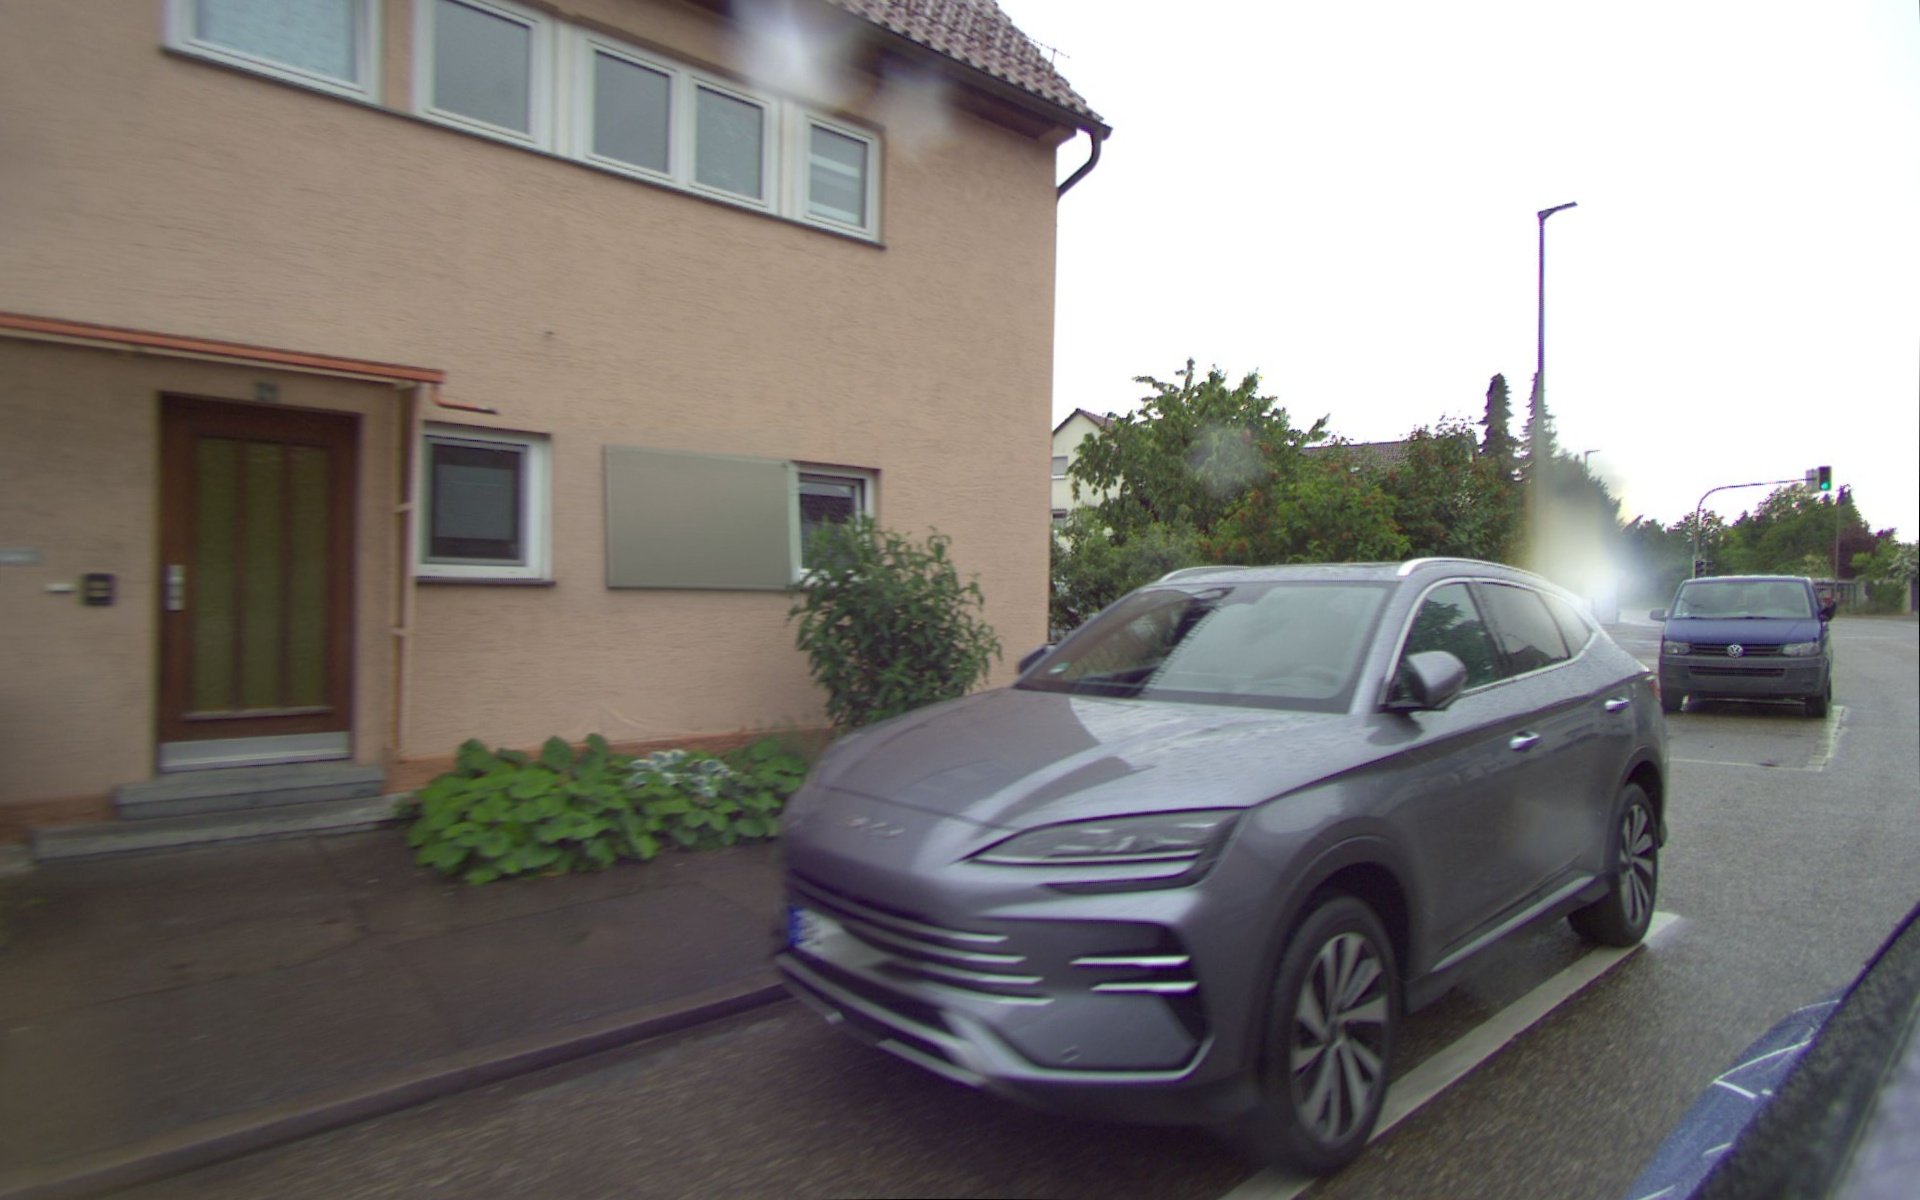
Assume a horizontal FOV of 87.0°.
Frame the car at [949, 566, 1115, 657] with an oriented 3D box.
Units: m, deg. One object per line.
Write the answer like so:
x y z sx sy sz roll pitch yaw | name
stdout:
1.995 0.291 26.167 1.939 2.110 5.119 -1 -1 35 | car

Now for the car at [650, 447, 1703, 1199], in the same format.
1.276 0.586 4.114 4.477 1.739 1.911 0 -1 -42 | car

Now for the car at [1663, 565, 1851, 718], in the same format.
12.044 0.514 15.215 1.928 1.926 4.723 -1 0 41 | car
